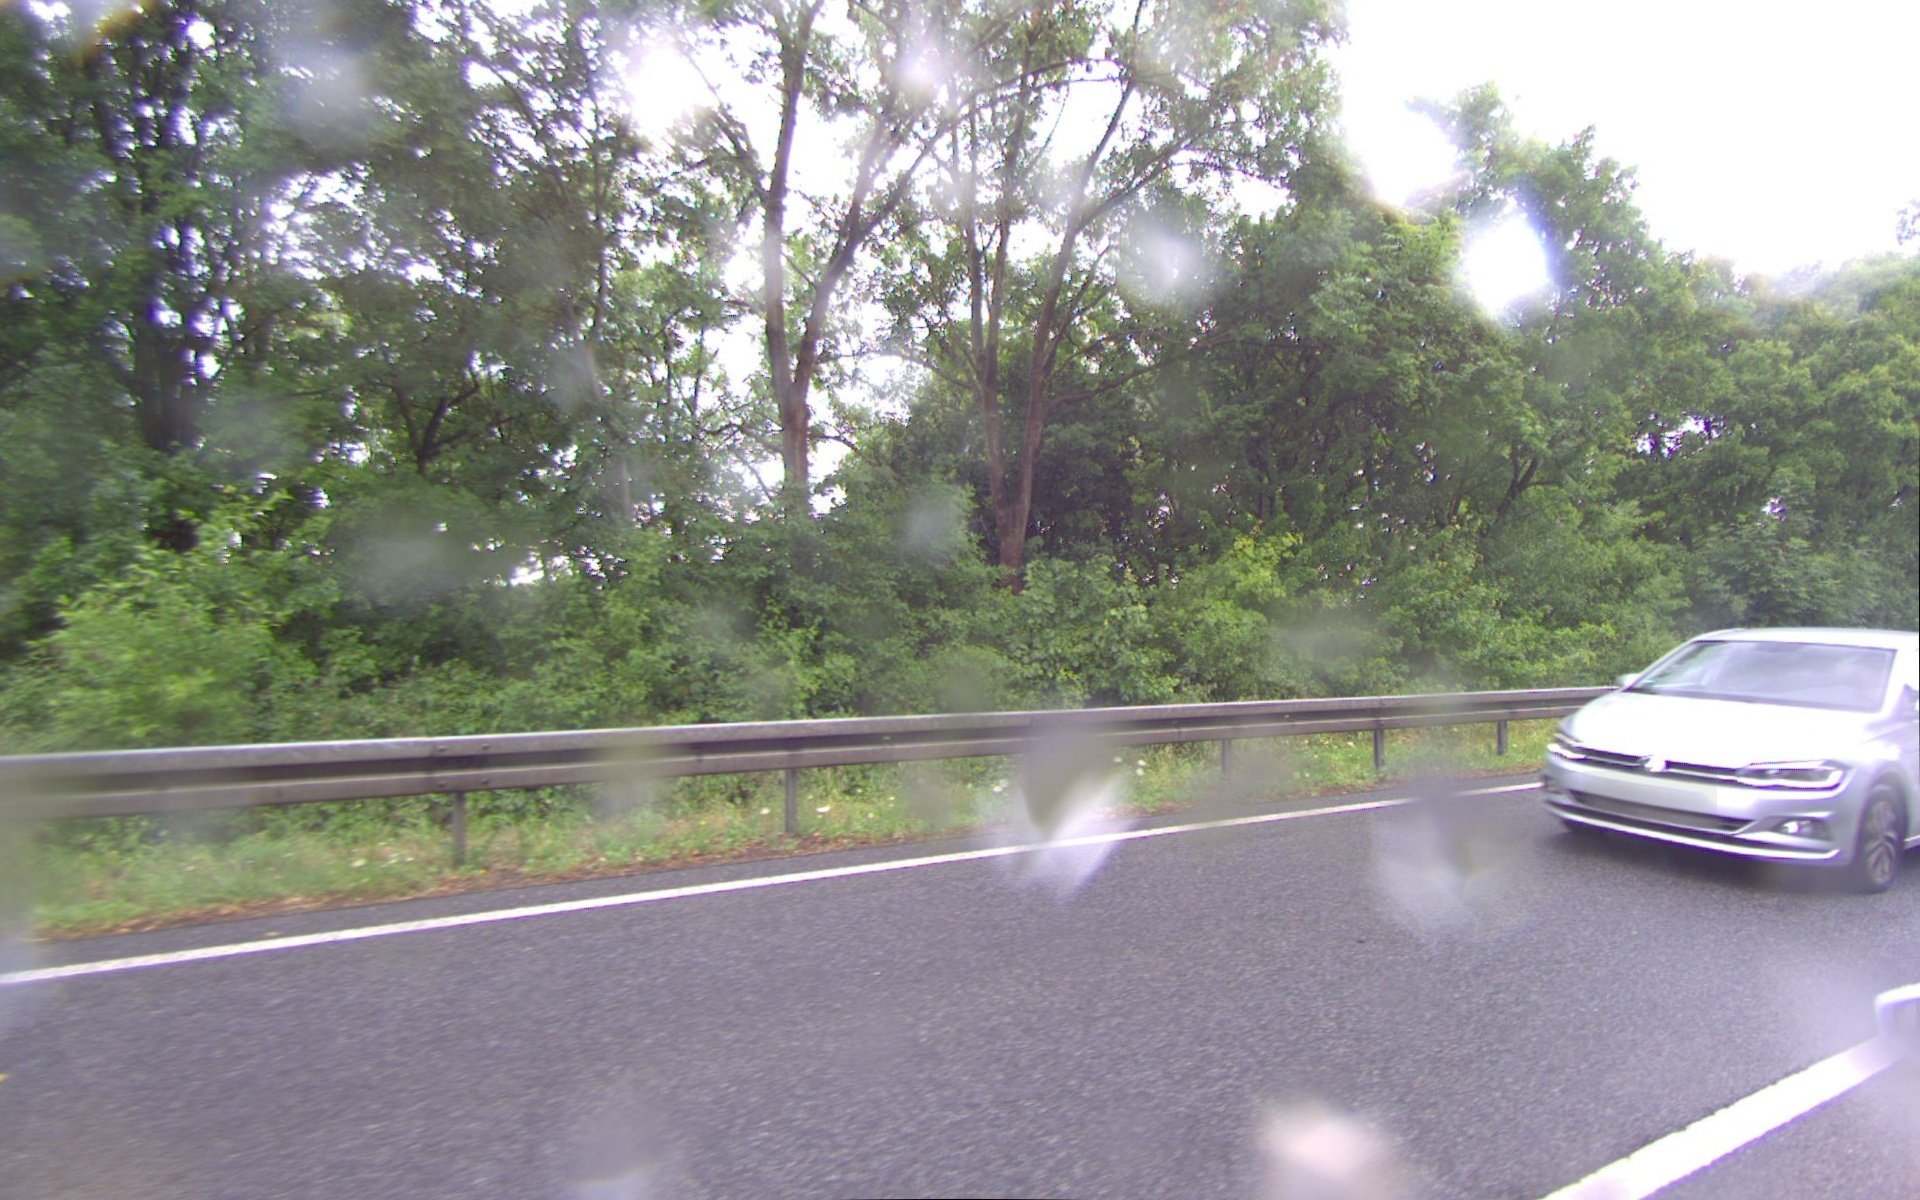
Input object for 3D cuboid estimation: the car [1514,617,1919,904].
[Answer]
[{"bbox_3d":[5.789,0.907,6.909,3.803,1.450,1.720,2,-1,-30],"label":"car"}]
